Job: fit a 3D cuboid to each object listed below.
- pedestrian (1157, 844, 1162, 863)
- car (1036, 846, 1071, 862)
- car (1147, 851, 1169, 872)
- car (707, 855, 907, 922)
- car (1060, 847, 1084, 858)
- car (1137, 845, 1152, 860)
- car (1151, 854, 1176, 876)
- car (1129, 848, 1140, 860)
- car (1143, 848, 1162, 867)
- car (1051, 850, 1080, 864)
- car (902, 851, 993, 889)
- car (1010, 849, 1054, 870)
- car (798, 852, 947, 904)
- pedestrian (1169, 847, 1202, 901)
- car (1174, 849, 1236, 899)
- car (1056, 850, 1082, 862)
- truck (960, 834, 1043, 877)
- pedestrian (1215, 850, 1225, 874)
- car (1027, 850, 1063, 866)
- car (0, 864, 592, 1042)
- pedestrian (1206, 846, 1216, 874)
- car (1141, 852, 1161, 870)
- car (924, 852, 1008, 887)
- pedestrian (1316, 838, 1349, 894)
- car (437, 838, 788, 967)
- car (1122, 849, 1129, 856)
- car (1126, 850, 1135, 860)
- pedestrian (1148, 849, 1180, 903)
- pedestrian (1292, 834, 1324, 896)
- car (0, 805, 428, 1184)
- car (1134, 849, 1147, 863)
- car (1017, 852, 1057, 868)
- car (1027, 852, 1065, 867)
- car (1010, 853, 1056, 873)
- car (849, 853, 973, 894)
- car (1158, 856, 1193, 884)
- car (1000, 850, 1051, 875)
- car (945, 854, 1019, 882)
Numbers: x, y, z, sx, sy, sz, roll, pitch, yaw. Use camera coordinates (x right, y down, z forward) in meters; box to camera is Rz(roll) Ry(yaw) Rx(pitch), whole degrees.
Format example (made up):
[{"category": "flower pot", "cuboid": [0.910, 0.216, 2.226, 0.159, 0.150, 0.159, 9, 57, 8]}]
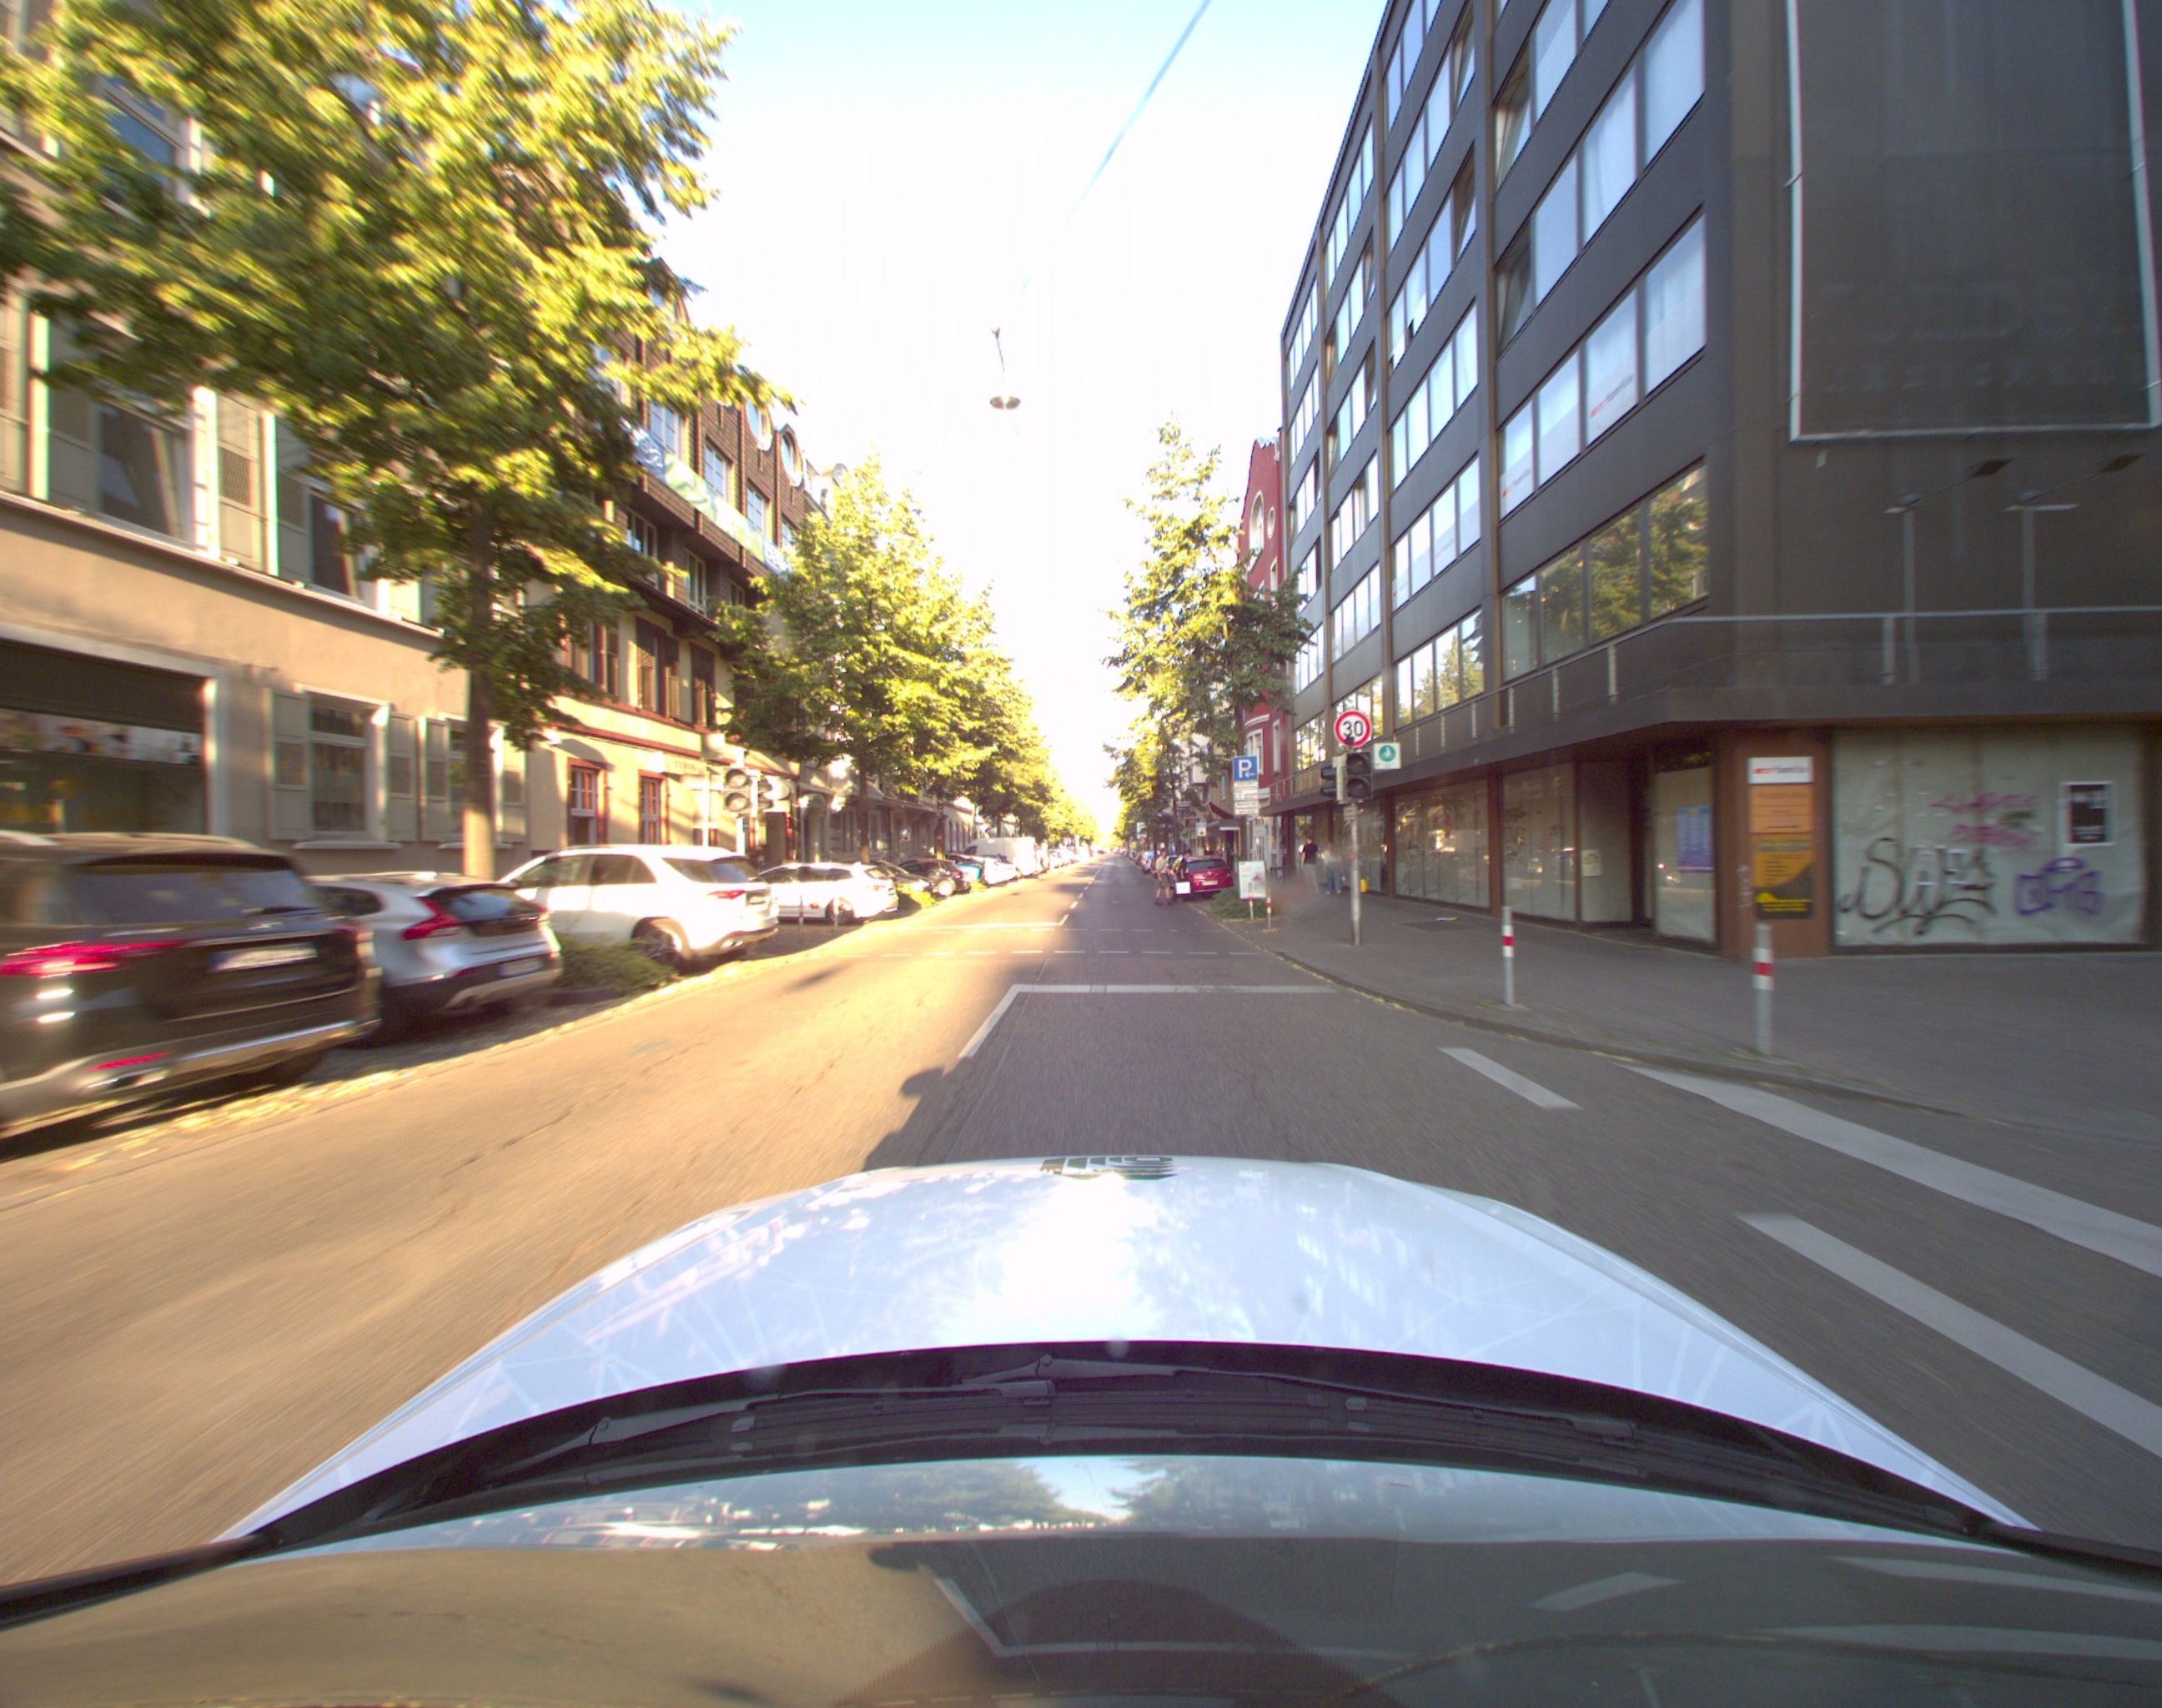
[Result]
[{"category": "pedestrian", "cuboid": [8.232, -0.087, 85.446, 0.447, 2.013, 0.424, 0, 0, 1]}, {"category": "car", "cuboid": [-3.094, 0.004, 91.879, 3.726, 1.708, 2.001, 0, 1, 1]}, {"category": "car", "cuboid": [5.022, 0.484, 53.446, 1.203, 1.300, 2.660, 0, 0, 0]}, {"category": "car", "cuboid": [-6.582, 0.800, 19.887, 4.159, 1.507, 2.001, 0, 0, 1]}, {"category": "car", "cuboid": [-1.398, -0.260, 126.458, 3.726, 1.708, 2.001, 0, 1, 1]}, {"category": "car", "cuboid": [6.749, -0.174, 86.454, 1.305, 1.600, 2.660, 0, 0, 0]}, {"category": "car", "cuboid": [5.039, 0.645, 49.986, 1.203, 1.300, 2.660, 0, 0, 0]}, {"category": "car", "cuboid": [7.261, -0.029, 109.949, 1.305, 1.600, 2.660, 0, 0, 0]}, {"category": "car", "cuboid": [5.904, 0.298, 67.434, 1.305, 1.600, 2.660, 0, 0, 0]}, {"category": "car", "cuboid": [-2.093, 0.377, 107.540, 3.726, 1.708, 2.001, 0, 1, 1]}, {"category": "car", "cuboid": [-6.015, 0.708, 37.057, 3.726, 1.642, 2.001, 0, 1, 1]}, {"category": "car", "cuboid": [-4.314, 0.481, 72.254, 3.726, 1.708, 2.001, -1, 0, 1]}, {"category": "car", "cuboid": [-6.901, 0.780, 27.303, 4.410, 1.599, 2.001, -1, 0, 1]}, {"category": "pedestrian", "cuboid": [3.370, 0.636, 26.188, 0.727, 1.683, 0.749, -2, 2, -38]}, {"category": "car", "cuboid": [4.259, 0.667, 28.392, 1.572, 1.542, 3.396, -3, 0, 0]}, {"category": "car", "cuboid": [-1.681, 0.343, 117.789, 3.726, 1.708, 2.001, 0, 1, 1]}, {"category": "truck", "cuboid": [-4.939, 0.102, 51.277, 4.923, 2.615, 2.001, -1, 0, 1]}, {"category": "pedestrian", "cuboid": [8.116, 0.457, 47.480, 0.532, 1.360, 0.534, 0, 0, 2]}, {"category": "car", "cuboid": [-3.889, 0.447, 88.352, 3.726, 1.708, 2.001, -1, 0, 1]}, {"category": "car", "cuboid": [-7.227, 0.839, 7.752, 4.017, 1.443, 1.832, 0, 1, 1]}, {"category": "pedestrian", "cuboid": [7.498, 0.345, 46.980, 0.532, 1.622, 0.534, 0, 0, 2]}, {"category": "car", "cuboid": [5.182, 0.521, 60.240, 1.203, 1.300, 2.660, 0, 0, 0]}, {"category": "car", "cuboid": [-5.516, 0.743, 39.442, 3.726, 1.596, 2.000, -1, -2, 1]}, {"category": "pedestrian", "cuboid": [7.806, 0.372, 25.293, 0.763, 1.689, 0.786, -2, 0, 0]}, {"category": "car", "cuboid": [-6.558, 0.634, 11.736, 3.975, 1.708, 1.834, 0, 1, 1]}, {"category": "car", "cuboid": [10.392, -0.334, 189.907, 1.571, 1.579, 3.114, 0, 1, 0]}, {"category": "car", "cuboid": [8.124, 0.187, 132.897, 1.305, 1.600, 2.660, 0, 0, 0]}, {"category": "pedestrian", "cuboid": [2.589, 0.670, 25.405, 0.720, 1.673, 0.702, 0, 1, -38]}, {"category": "pedestrian", "cuboid": [7.042, 0.319, 25.282, 0.712, 1.865, 0.680, -3, 0, -1]}, {"category": "car", "cuboid": [-7.042, 0.675, 4.995, 4.432, 1.835, 2.034, 0, 0, 1]}, {"category": "car", "cuboid": [6.657, 0.248, 91.568, 1.305, 1.600, 2.660, 0, 0, 0]}, {"category": "car", "cuboid": [-4.247, 0.597, 79.326, 3.726, 1.449, 2.001, -1, 0, 1]}, {"category": "car", "cuboid": [-3.601, 0.558, 84.025, 3.726, 1.493, 2.001, -1, 0, 1]}, {"category": "car", "cuboid": [-3.929, 0.742, 67.261, 3.573, 1.595, 1.701, -1, 0, 1]}, {"category": "car", "cuboid": [-6.658, 0.745, 32.229, 4.410, 1.503, 2.001, 1, 0, 1]}, {"category": "car", "cuboid": [4.601, 0.749, 39.982, 1.300, 1.293, 3.013, 1, 0, 0]}, {"category": "car", "cuboid": [-4.183, 0.612, 61.865, 3.726, 1.858, 2.001, 0, 1, 1]}, {"category": "car", "cuboid": [-5.419, 0.758, 44.844, 3.726, 1.449, 2.001, -1, 0, 1]}]
